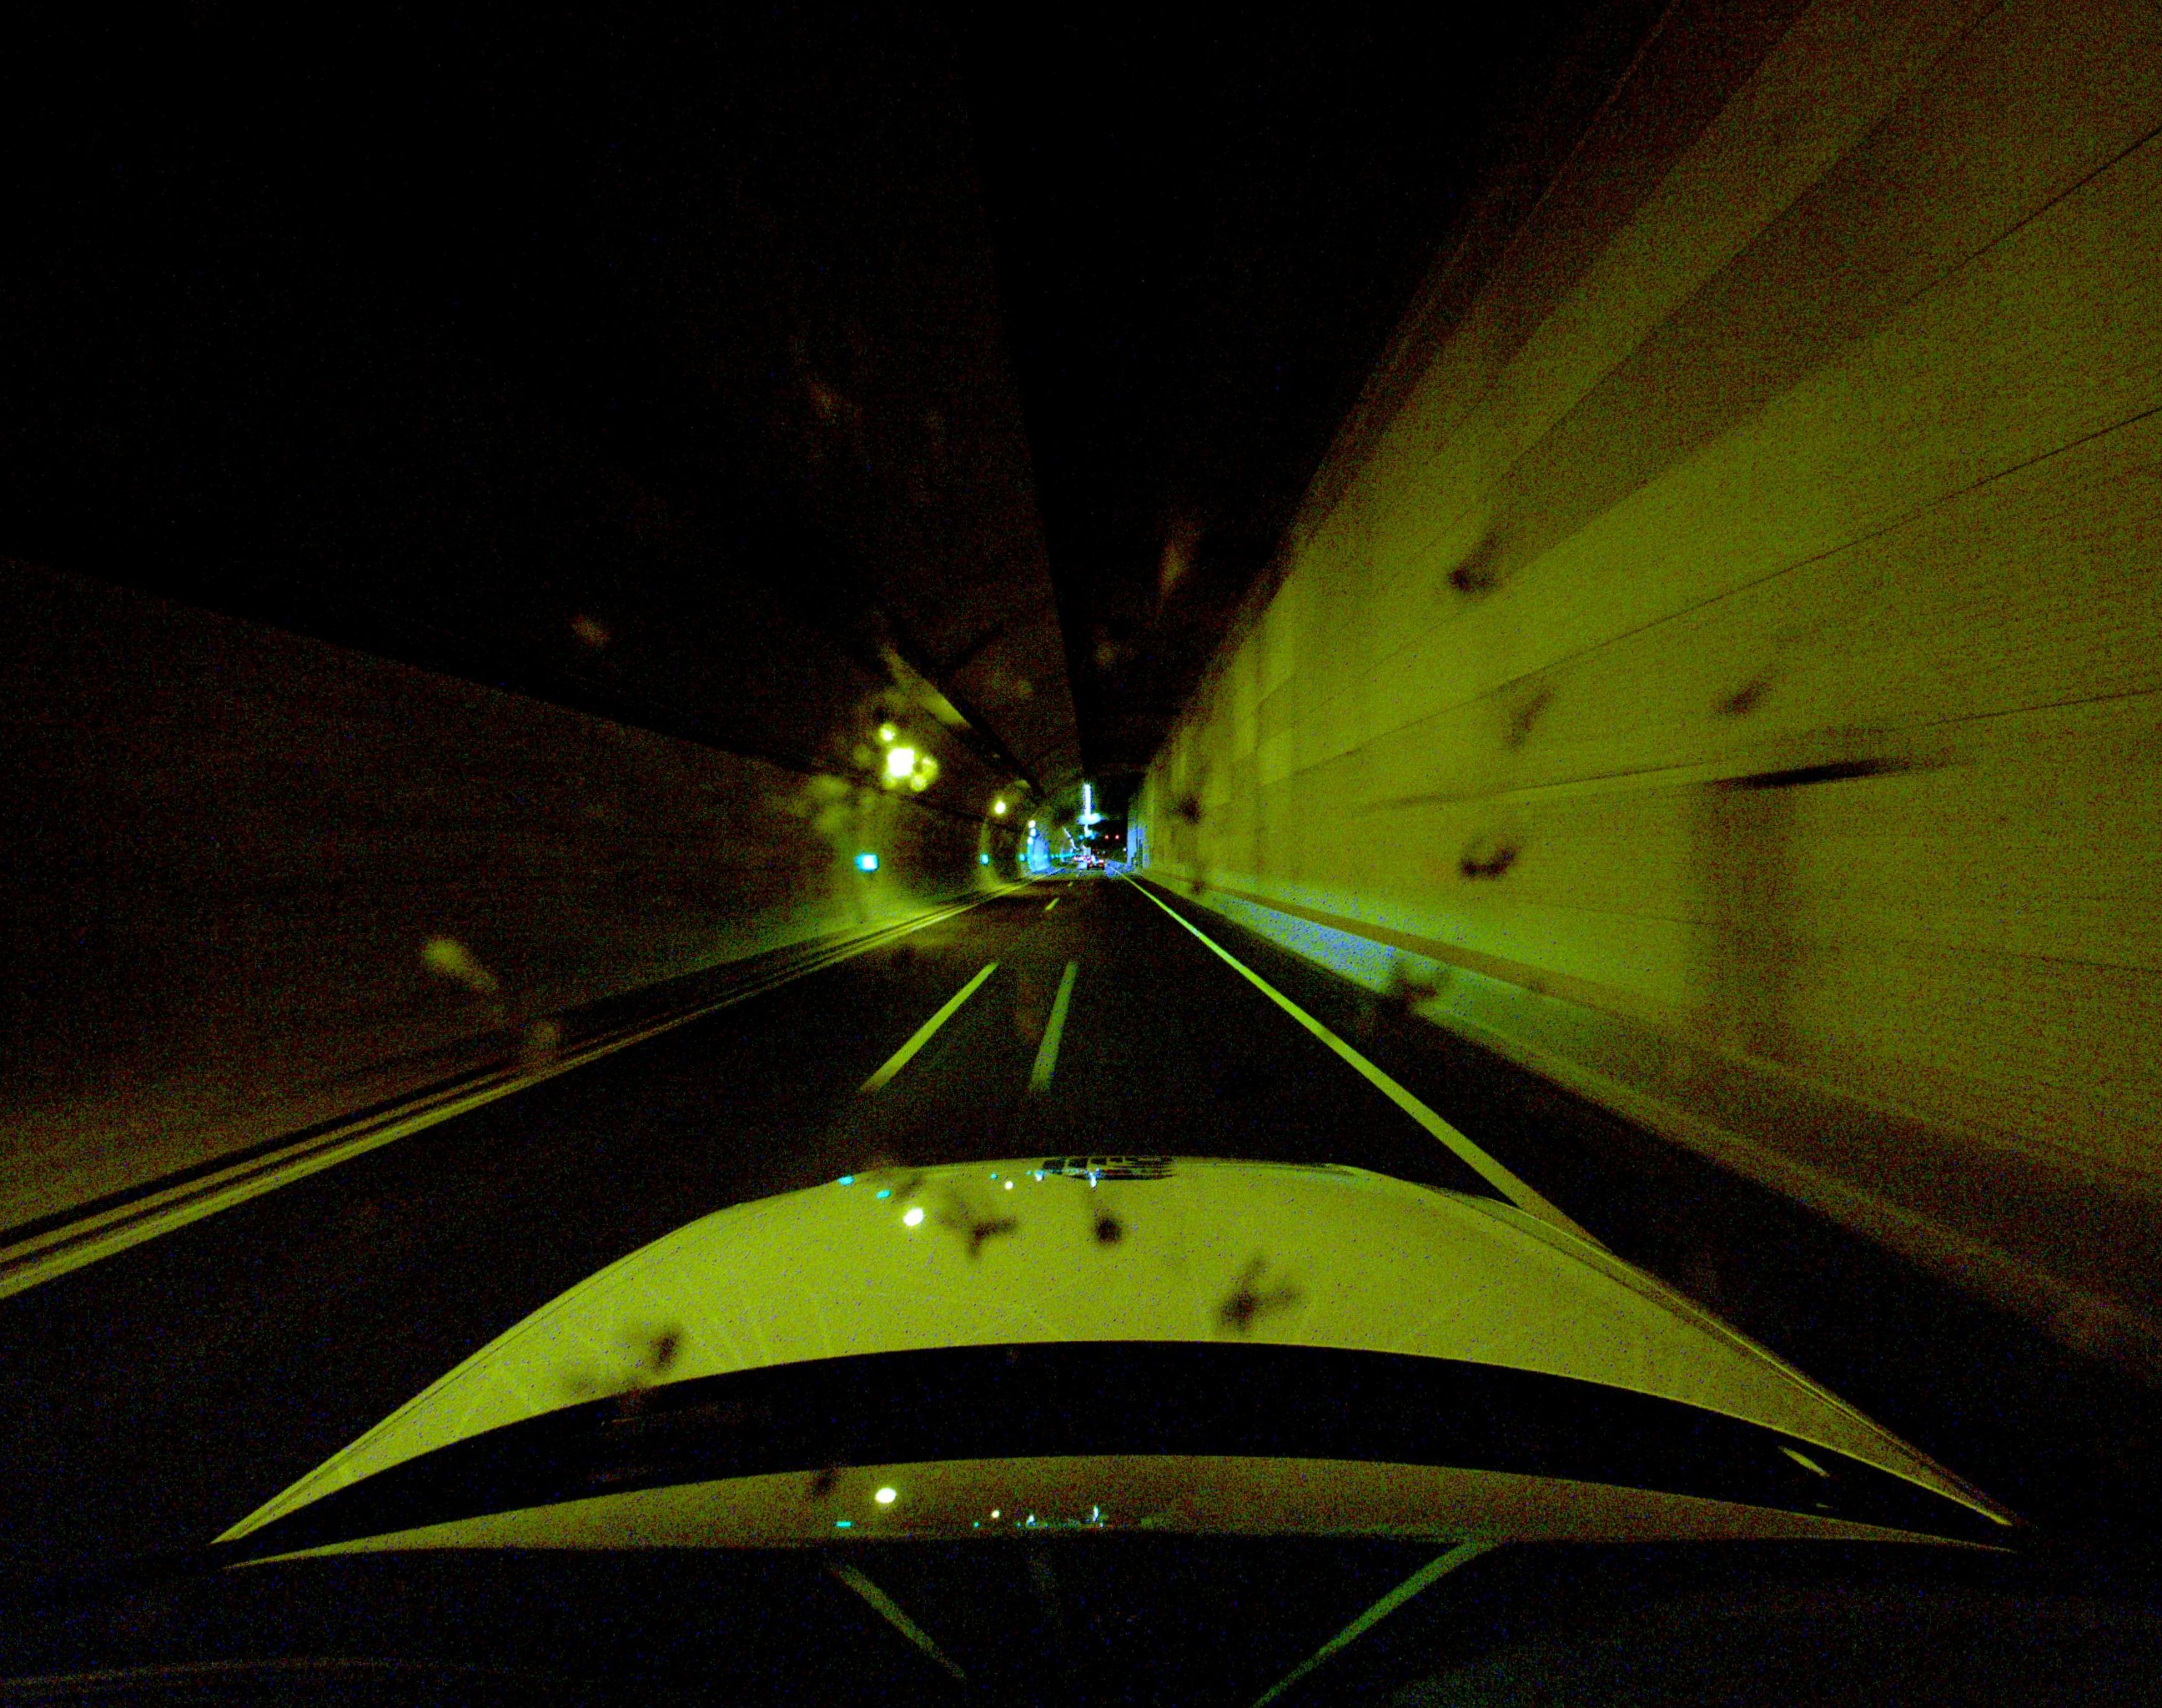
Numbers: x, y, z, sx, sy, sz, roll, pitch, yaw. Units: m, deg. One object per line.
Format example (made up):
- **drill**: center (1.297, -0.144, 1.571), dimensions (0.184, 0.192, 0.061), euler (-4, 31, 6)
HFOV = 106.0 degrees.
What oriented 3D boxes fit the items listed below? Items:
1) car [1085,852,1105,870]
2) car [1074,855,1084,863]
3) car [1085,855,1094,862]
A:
- **car**: center (1.506, 0.698, 85.927), dimensions (1.939, 1.794, 4.002), euler (-2, 0, 2)
- **car**: center (-0.377, 1.064, 170.118), dimensions (1.925, 1.687, 3.998), euler (-2, 0, -1)
- **car**: center (1.975, 1.086, 191.708), dimensions (1.924, 1.687, 4.001), euler (-2, 0, 1)
